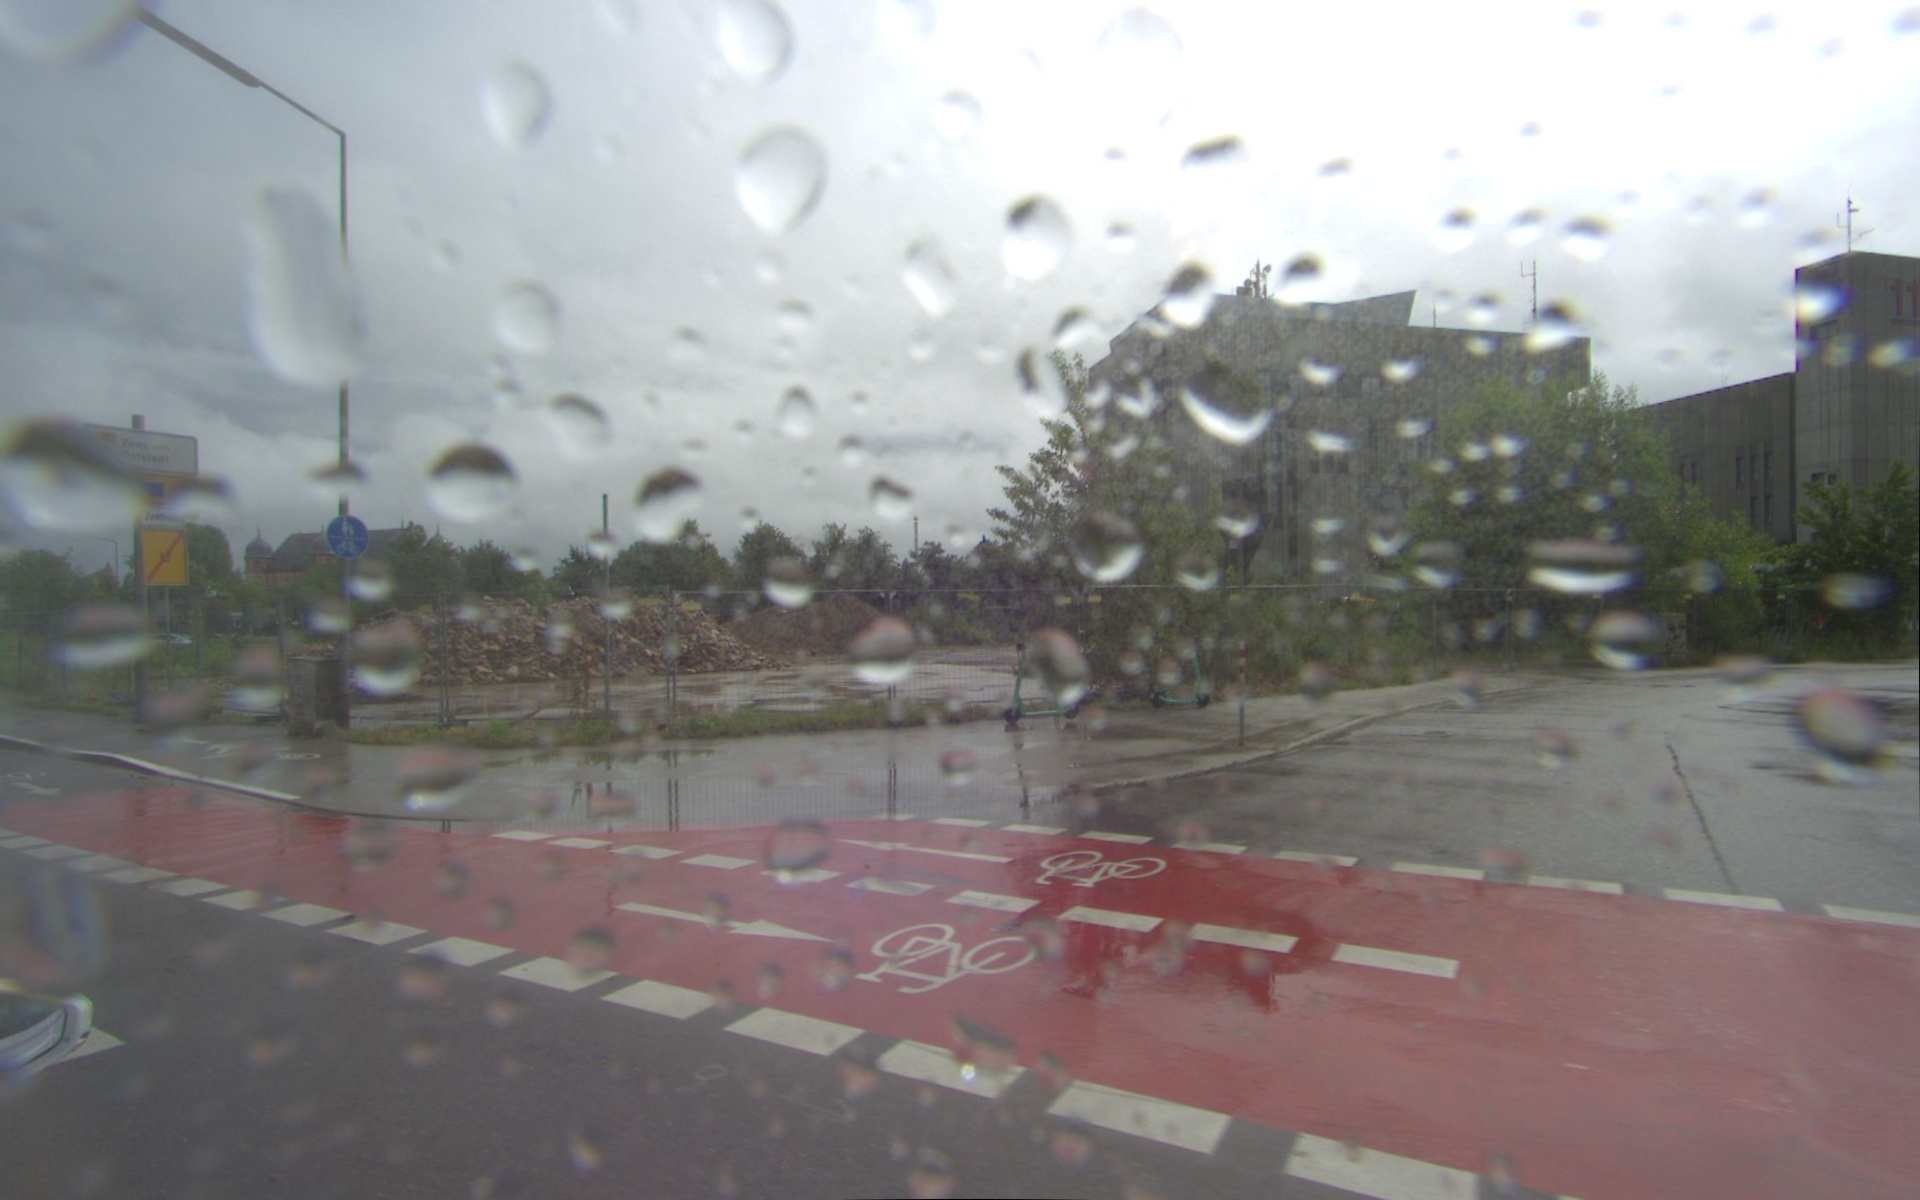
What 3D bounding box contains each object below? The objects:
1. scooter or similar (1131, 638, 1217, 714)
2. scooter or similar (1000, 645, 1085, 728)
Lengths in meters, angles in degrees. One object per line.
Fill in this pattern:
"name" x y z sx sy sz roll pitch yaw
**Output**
"scooter or similar" 3.544 1.239 16.613 1.175 1.165 0.744 -1 0 -23
"scooter or similar" 1.235 1.273 14.985 1.175 1.165 0.481 -1 0 -23
